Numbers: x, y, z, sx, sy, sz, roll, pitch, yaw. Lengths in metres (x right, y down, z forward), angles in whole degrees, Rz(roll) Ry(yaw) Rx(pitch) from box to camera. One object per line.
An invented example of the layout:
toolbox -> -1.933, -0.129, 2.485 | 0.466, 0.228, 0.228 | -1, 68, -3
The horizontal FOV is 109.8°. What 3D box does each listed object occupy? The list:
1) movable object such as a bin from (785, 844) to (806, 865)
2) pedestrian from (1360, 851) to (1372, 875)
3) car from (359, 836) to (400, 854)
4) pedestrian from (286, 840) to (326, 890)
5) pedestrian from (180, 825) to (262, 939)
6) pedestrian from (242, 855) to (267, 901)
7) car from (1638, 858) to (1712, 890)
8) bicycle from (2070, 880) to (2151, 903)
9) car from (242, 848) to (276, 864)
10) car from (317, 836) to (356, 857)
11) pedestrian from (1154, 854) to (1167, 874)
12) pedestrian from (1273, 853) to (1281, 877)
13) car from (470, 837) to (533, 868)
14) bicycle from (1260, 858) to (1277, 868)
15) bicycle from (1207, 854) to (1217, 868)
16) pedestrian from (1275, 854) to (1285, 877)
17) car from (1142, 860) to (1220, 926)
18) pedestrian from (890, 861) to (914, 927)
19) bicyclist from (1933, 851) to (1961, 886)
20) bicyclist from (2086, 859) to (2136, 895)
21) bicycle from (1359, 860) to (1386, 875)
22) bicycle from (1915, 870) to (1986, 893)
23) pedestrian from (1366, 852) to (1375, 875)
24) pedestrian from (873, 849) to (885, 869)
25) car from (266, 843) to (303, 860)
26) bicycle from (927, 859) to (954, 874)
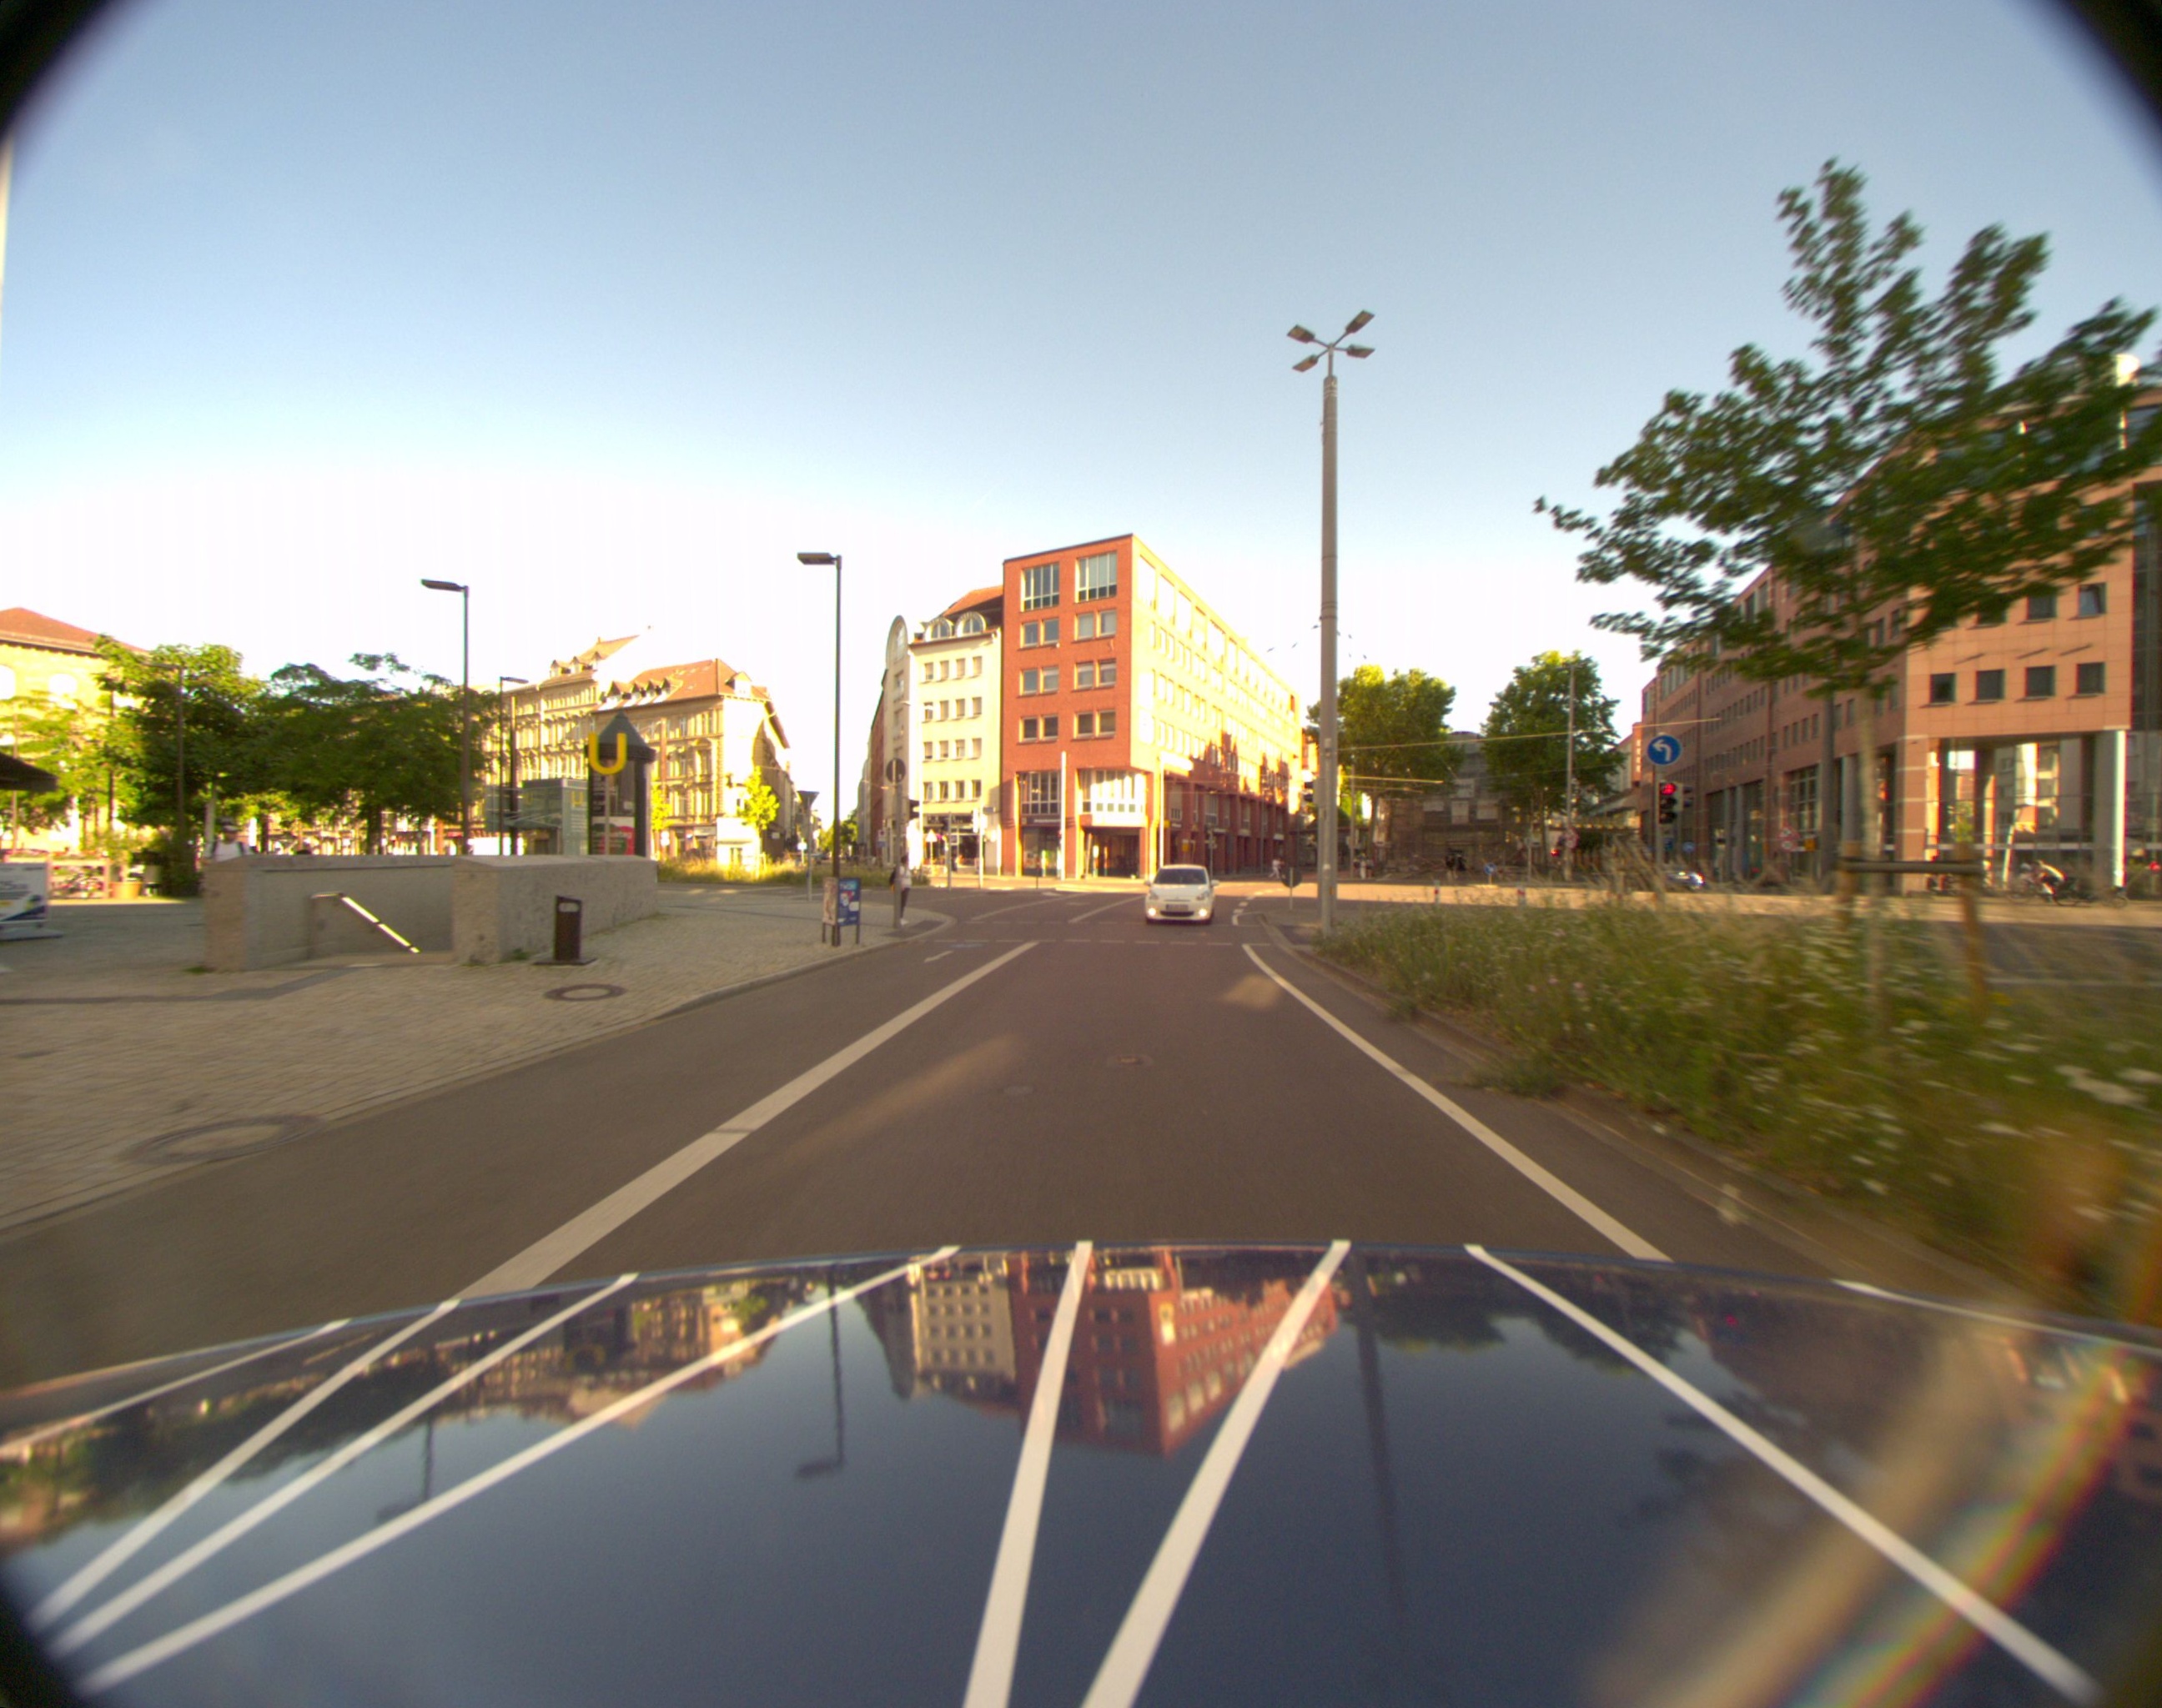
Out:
movable object such as a bin -> -25.357, 0.019, 67.427 | 1.651, 1.773, 1.399 | -2, 1, -22
pedestrian -> 20.959, 0.664, 55.943 | 0.778, 1.724, 0.850 | 1, 1, 24
car -> -81.708, -1.053, 88.478 | 4.332, 2.002, 2.239 | -2, 1, 30
pedestrian -> -27.364, 0.365, 26.840 | 0.681, 1.736, 0.718 | 0, 1, 17
pedestrian -> -14.552, 0.447, 12.853 | 1.042, 1.855, 0.689 | 1, 1, 30
pedestrian -> -30.744, 0.887, 28.275 | 0.475, 1.661, 0.507 | 1, 1, 30
car -> 29.501, 0.935, 37.906 | 1.834, 1.378, 4.603 | 1, 1, 24
bicycle -> 38.249, 1.401, 28.236 | 2.017, 0.803, 0.617 | 0, 1, 4
car -> -112.795, 0.268, 104.270 | 4.332, 2.002, 2.239 | -2, 1, 30
car -> -92.238, -0.907, 94.147 | 4.332, 2.369, 2.239 | -2, 1, 30
pedestrian -> 6.343, 0.794, 60.701 | 0.846, 1.580, 0.754 | 0, 1, -13
pedestrian -> 14.704, 0.806, 56.960 | 0.476, 1.782, 0.542 | 0, 1, 27
car -> -57.724, -0.157, 75.720 | 5.354, 3.005, 2.282 | 0, 2, 18
bicycle -> 20.402, 0.985, 82.587 | 1.612, 0.949, 0.556 | 3, 2, 29
bicycle -> 11.588, 0.602, 66.976 | 0.340, 1.249, 1.713 | 1, 1, 28
pedestrian -> 15.092, 0.874, 57.639 | 0.634, 1.715, 0.631 | 0, 1, 27
car -> 2.762, 0.934, 20.238 | 1.807, 1.492, 4.204 | 0, 1, 11
pedestrian -> -4.380, 0.962, 18.583 | 0.541, 1.574, 0.556 | 0, 1, -16
bicyclist -> 37.189, 0.632, 32.628 | 0.584, 1.476, 0.747 | 0, 0, -35
bicyclist -> 38.256, 0.845, 28.225 | 0.956, 1.304, 0.617 | 0, 1, 4
bicycle -> 21.795, 0.987, 56.828 | 1.830, 1.072, 0.482 | 0, 1, 28
bicycle -> 37.238, 1.181, 32.562 | 0.584, 0.907, 1.960 | 0, 0, -36
pedestrian -> 21.521, 0.683, 56.489 | 0.566, 1.670, 0.532 | 1, 1, 28
pedestrian -> -16.781, 0.394, 63.067 | 0.694, 1.628, 0.959 | -2, 3, -32
car -> -104.634, -0.322, 99.815 | 4.332, 2.002, 2.239 | -2, 1, 30
bicycle -> -9.812, 0.849, 53.030 | 1.861, 0.985, 0.460 | 0, 3, 27
